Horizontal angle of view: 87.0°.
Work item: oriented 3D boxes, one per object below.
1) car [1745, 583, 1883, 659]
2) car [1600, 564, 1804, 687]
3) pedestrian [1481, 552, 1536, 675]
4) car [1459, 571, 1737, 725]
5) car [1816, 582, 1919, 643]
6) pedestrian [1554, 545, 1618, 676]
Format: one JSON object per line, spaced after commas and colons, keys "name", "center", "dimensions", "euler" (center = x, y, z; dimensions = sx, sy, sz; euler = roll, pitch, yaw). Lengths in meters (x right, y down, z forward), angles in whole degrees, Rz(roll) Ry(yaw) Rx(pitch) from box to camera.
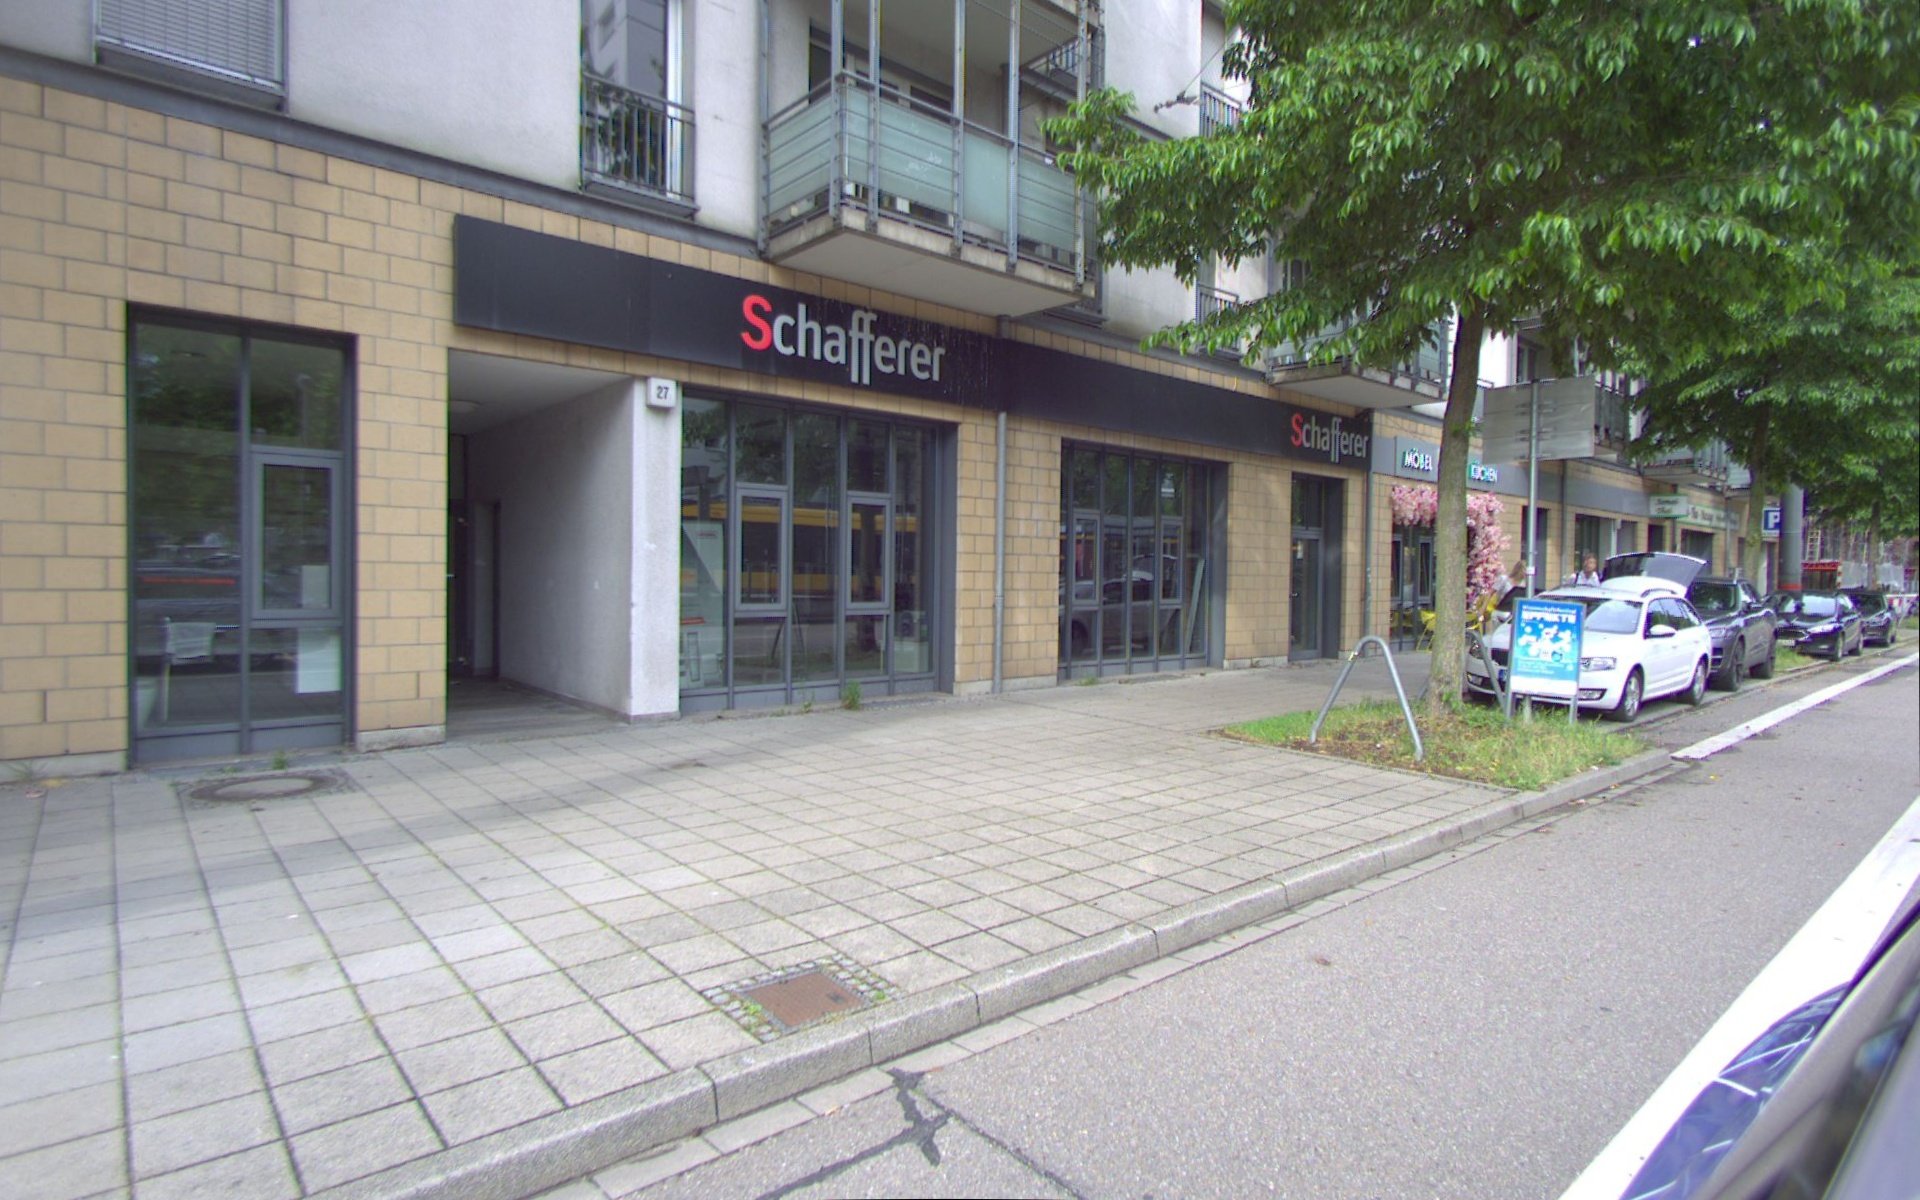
{"name": "car", "center": [18.656, 0.386, 22.051], "dimensions": [4.095, 1.394, 1.612], "euler": [-1, 5, -41]}
{"name": "car", "center": [11.816, 0.318, 16.035], "dimensions": [3.732, 1.630, 1.738], "euler": [-1, 5, -41]}
{"name": "pedestrian", "center": [8.061, 0.179, 14.859], "dimensions": [0.613, 1.738, 0.730], "euler": [2, 2, 32]}
{"name": "car", "center": [8.143, 0.473, 12.763], "dimensions": [4.233, 1.539, 1.738], "euler": [-1, 5, -41]}
{"name": "car", "center": [24.178, 0.288, 26.877], "dimensions": [3.603, 1.417, 1.612], "euler": [-1, 5, -41]}
{"name": "pedestrian", "center": [9.392, 0.138, 15.182], "dimensions": [0.588, 1.907, 0.656], "euler": [0, 1, -40]}
